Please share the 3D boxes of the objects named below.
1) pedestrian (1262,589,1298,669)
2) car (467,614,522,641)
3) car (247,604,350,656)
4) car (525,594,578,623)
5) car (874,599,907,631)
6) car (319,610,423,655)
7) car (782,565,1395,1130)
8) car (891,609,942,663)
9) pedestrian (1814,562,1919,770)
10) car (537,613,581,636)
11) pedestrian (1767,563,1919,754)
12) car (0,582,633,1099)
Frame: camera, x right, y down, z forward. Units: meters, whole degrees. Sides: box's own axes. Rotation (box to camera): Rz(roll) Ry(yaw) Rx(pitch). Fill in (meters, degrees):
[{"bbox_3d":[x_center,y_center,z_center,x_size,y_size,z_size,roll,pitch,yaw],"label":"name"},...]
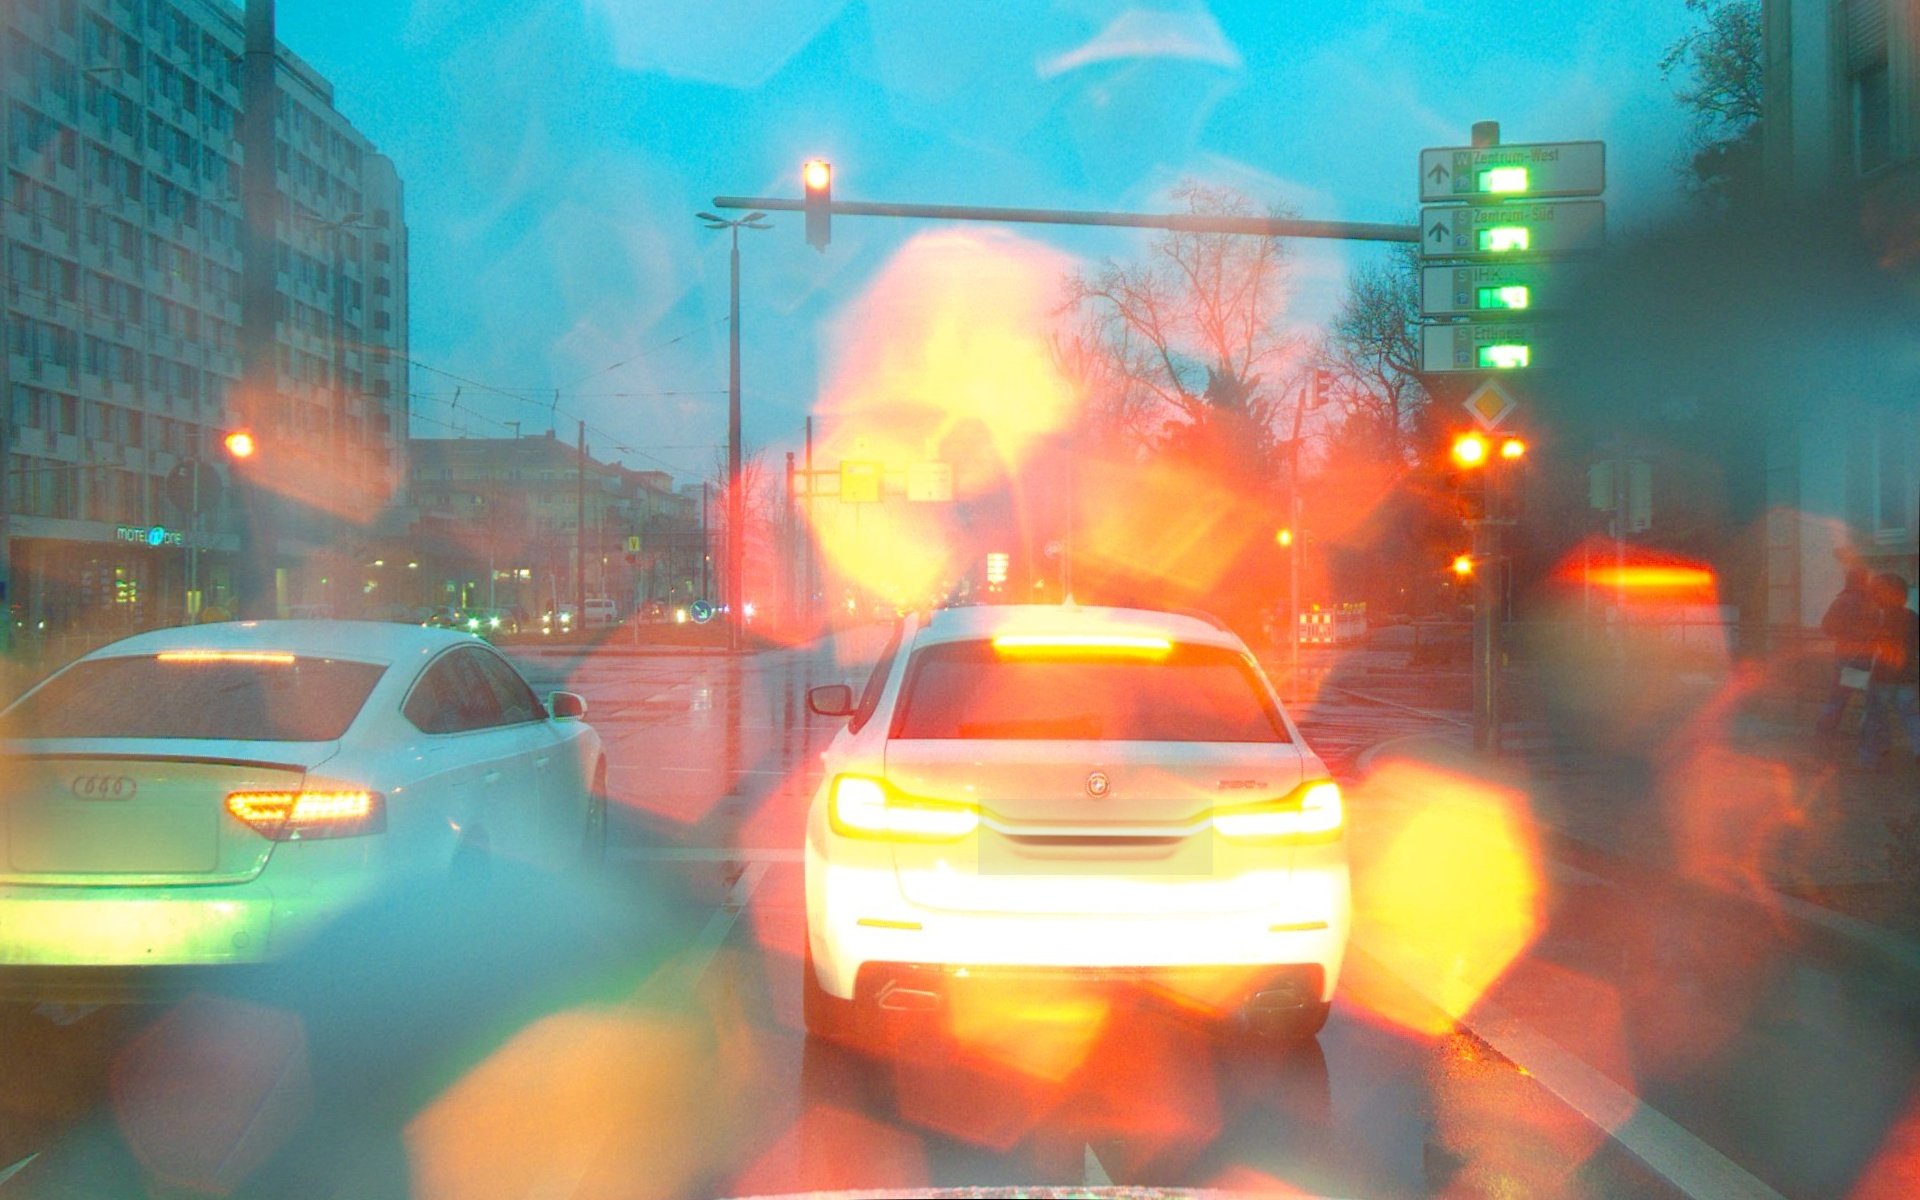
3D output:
[{"bbox_3d":[7.730,0.704,39.980,0.659,1.912,0.714,1,-1,-3],"label":"pedestrian"},{"bbox_3d":[-27.487,1.625,97.803,1.954,1.487,5.092,1,0,-3],"label":"car"},{"bbox_3d":[-24.164,1.070,60.586,1.842,1.821,4.599,1,0,0],"label":"car"},{"bbox_3d":[-22.170,0.451,89.892,1.954,1.487,5.090,1,0,-5],"label":"car"},{"bbox_3d":[-4.467,0.959,106.756,1.953,2.049,3.999,1,0,-1],"label":"car"},{"bbox_3d":[-21.016,1.120,59.255,1.953,1.487,5.094,1,0,-1],"label":"car"},{"bbox_3d":[0.269,0.715,6.807,1.724,1.580,4.249,1,0,-3],"label":"car"},{"bbox_3d":[-1.702,1.386,65.728,1.953,2.049,3.999,1,0,-1],"label":"car"},{"bbox_3d":[7.535,0.520,13.347,0.765,1.607,1.011,1,0,1],"label":"pedestrian"},{"bbox_3d":[-27.521,1.694,113.648,1.954,1.487,5.092,1,0,-3],"label":"car"},{"bbox_3d":[8.042,0.517,15.045,0.770,1.661,1.005,1,-1,-20],"label":"pedestrian"},{"bbox_3d":[-2.568,0.708,6.935,1.724,1.495,4.249,1,0,-3],"label":"car"}]
